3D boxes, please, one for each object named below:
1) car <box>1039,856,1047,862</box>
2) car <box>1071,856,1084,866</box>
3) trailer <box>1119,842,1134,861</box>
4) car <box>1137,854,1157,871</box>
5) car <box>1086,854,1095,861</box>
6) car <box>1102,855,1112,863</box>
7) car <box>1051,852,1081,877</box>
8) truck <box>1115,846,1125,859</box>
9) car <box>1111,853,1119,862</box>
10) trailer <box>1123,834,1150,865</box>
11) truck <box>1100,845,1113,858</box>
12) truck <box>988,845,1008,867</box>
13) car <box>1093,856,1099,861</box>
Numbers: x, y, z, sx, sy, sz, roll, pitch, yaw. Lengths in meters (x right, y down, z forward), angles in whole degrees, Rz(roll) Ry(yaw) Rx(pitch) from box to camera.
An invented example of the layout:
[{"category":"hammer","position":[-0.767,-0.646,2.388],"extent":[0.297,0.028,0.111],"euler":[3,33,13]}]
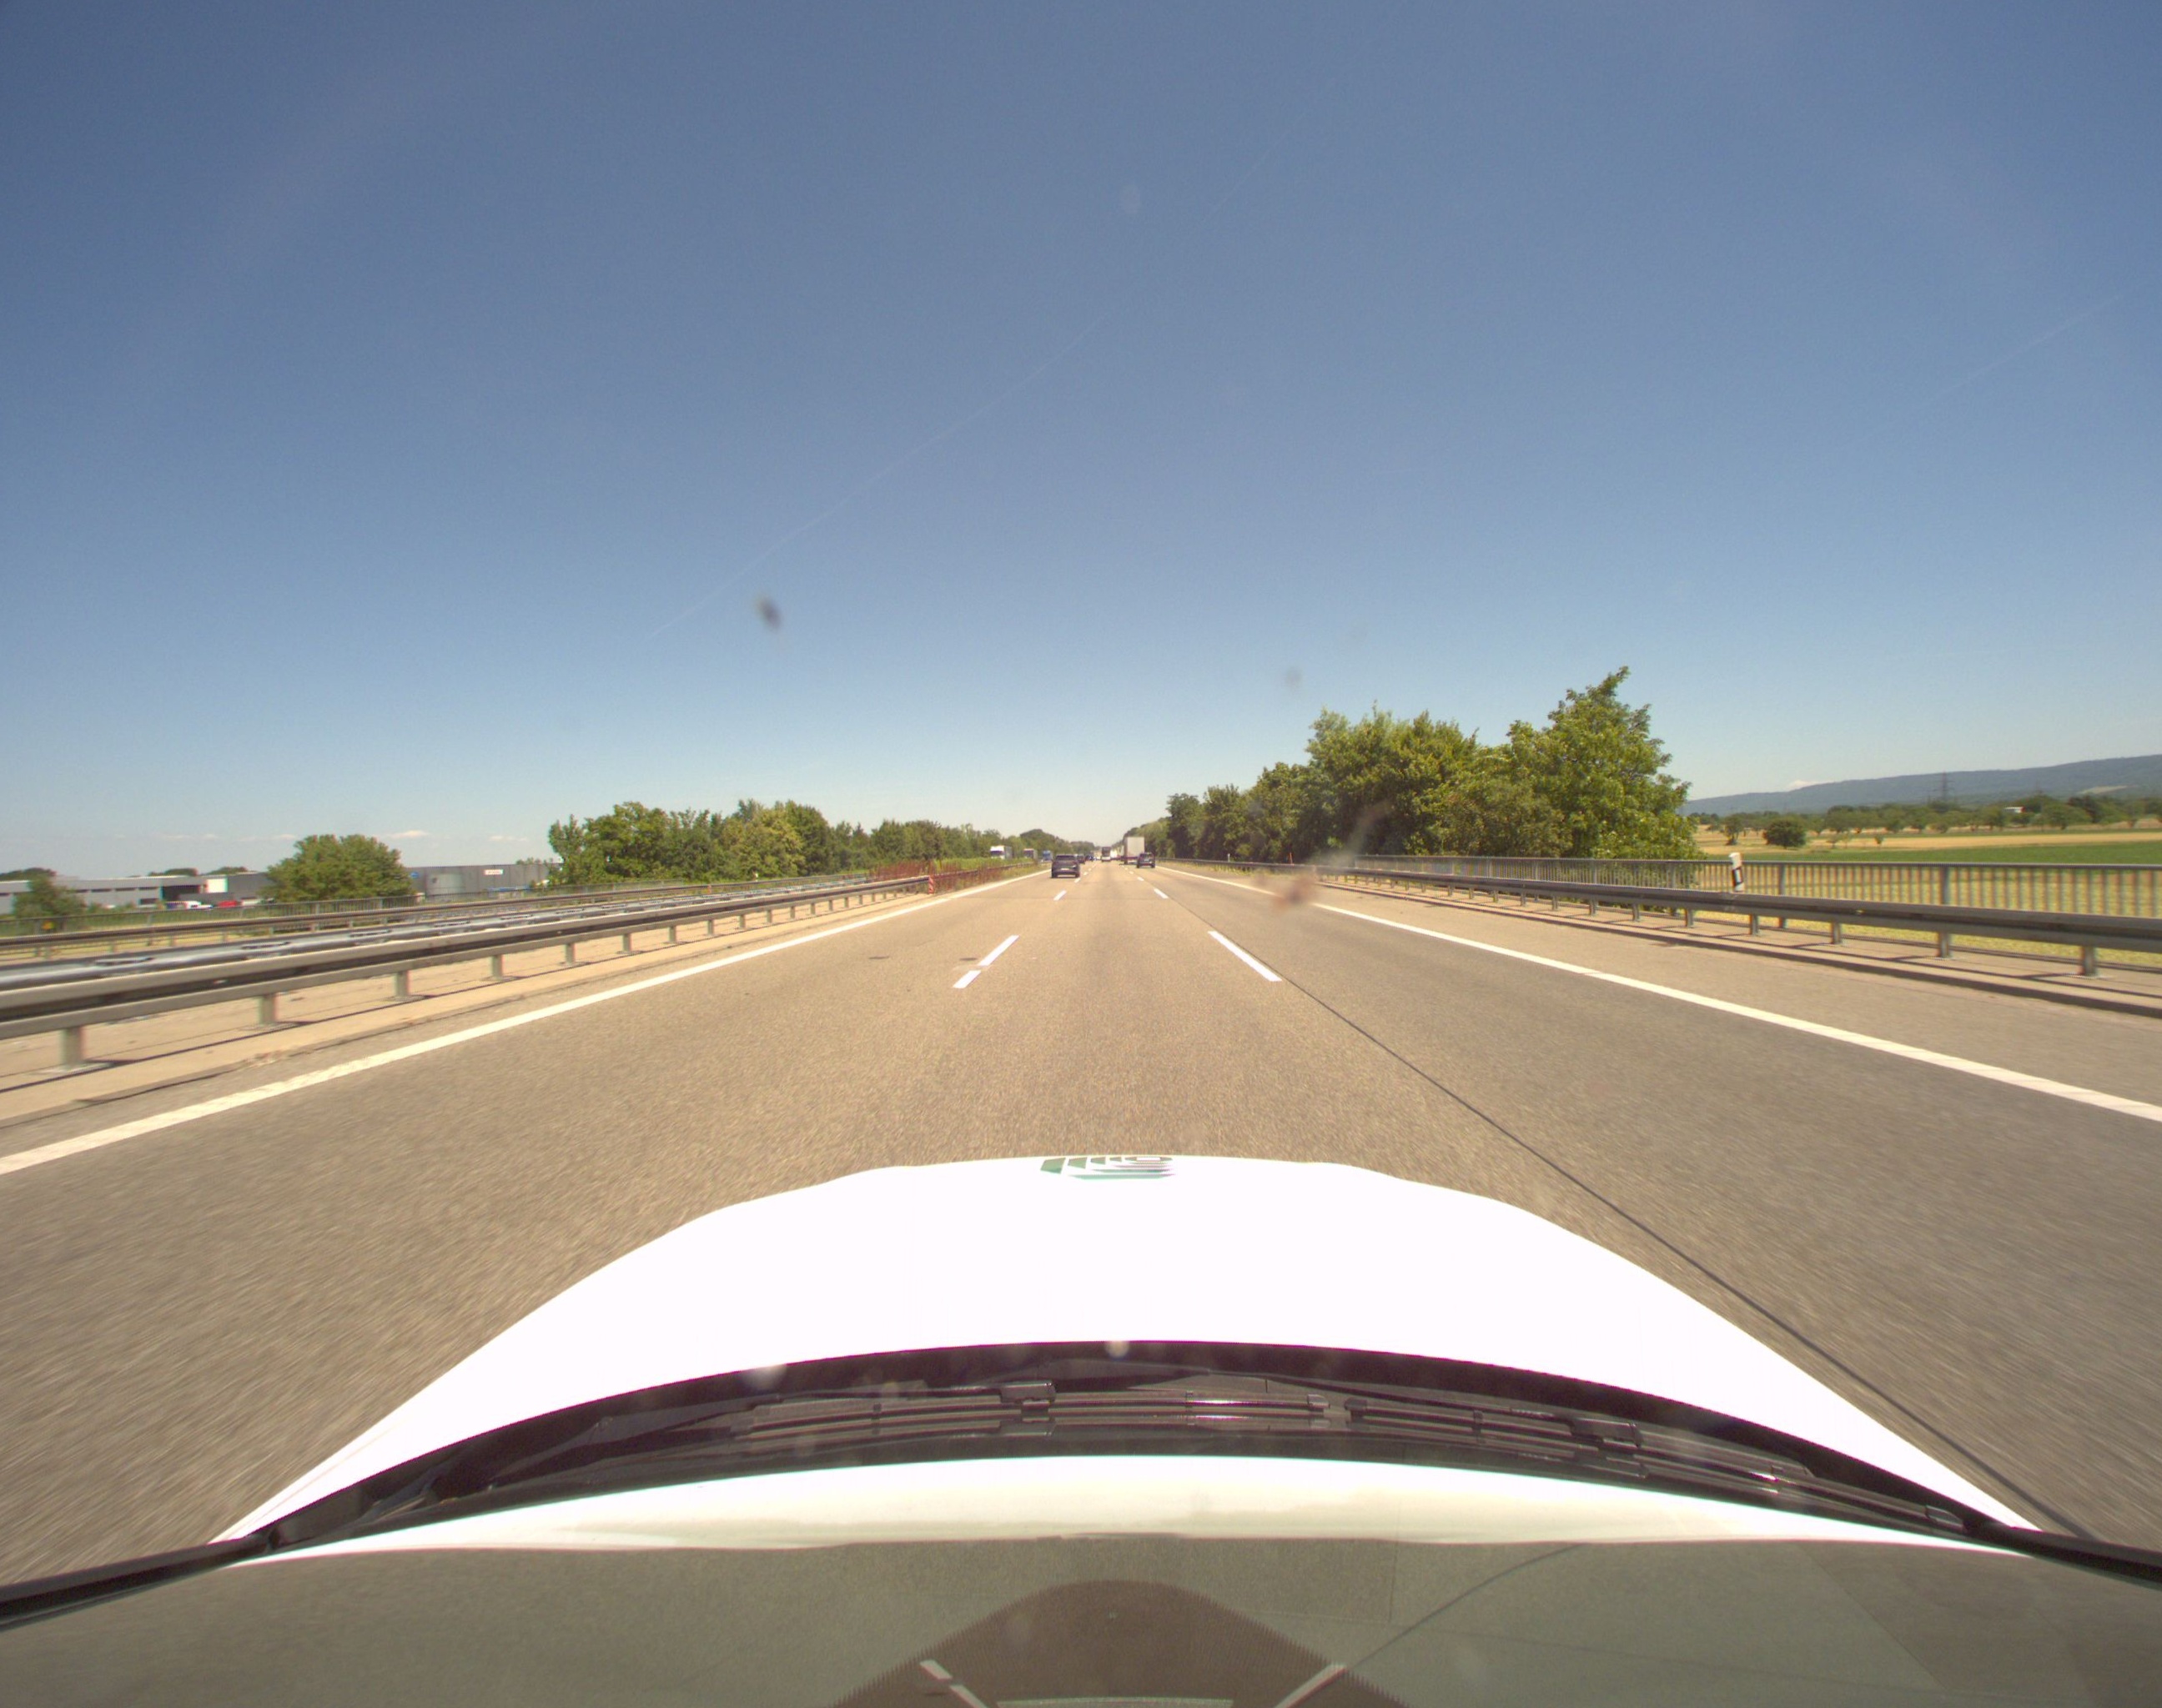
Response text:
[{"category":"car","position":[-10.040,1.318,214.369],"extent":[1.904,1.531,4.278],"euler":[0,0,-5]},{"category":"car","position":[-0.474,1.124,130.222],"extent":[1.893,1.531,4.086],"euler":[0,0,2]},{"category":"trailer","position":[10.025,-0.596,180.290],"extent":[3.111,3.926,9.938],"euler":[0,0,1]},{"category":"car","position":[6.917,0.882,85.940],"extent":[1.838,1.629,4.137],"euler":[-2,0,2]},{"category":"car","position":[2.155,0.904,188.553],"extent":[1.900,1.531,4.287],"euler":[0,0,2]},{"category":"car","position":[5.077,0.895,160.639],"extent":[1.893,1.531,4.086],"euler":[0,0,2]},{"category":"car","position":[-0.942,0.653,54.220],"extent":[1.752,1.531,4.287],"euler":[0,0,2]},{"category":"truck","position":[11.762,-0.423,246.338],"extent":[2.781,3.725,7.114],"euler":[0,0,3]},{"category":"car","position":[8.890,0.885,213.741],"extent":[1.900,2.425,4.287],"euler":[0,0,2]},{"category":"trailer","position":[8.068,-0.551,120.063],"extent":[3.421,4.181,13.638],"euler":[0,-1,2]},{"category":"truck","position":[7.390,-0.678,237.162],"extent":[3.652,3.725,7.114],"euler":[0,0,3]},{"category":"truck","position":[-16.447,0.353,161.592],"extent":[2.906,4.129,6.195],"euler":[-4,-1,1]},{"category":"car","position":[4.690,1.495,257.216],"extent":[1.900,1.531,4.287],"euler":[0,0,2]}]
